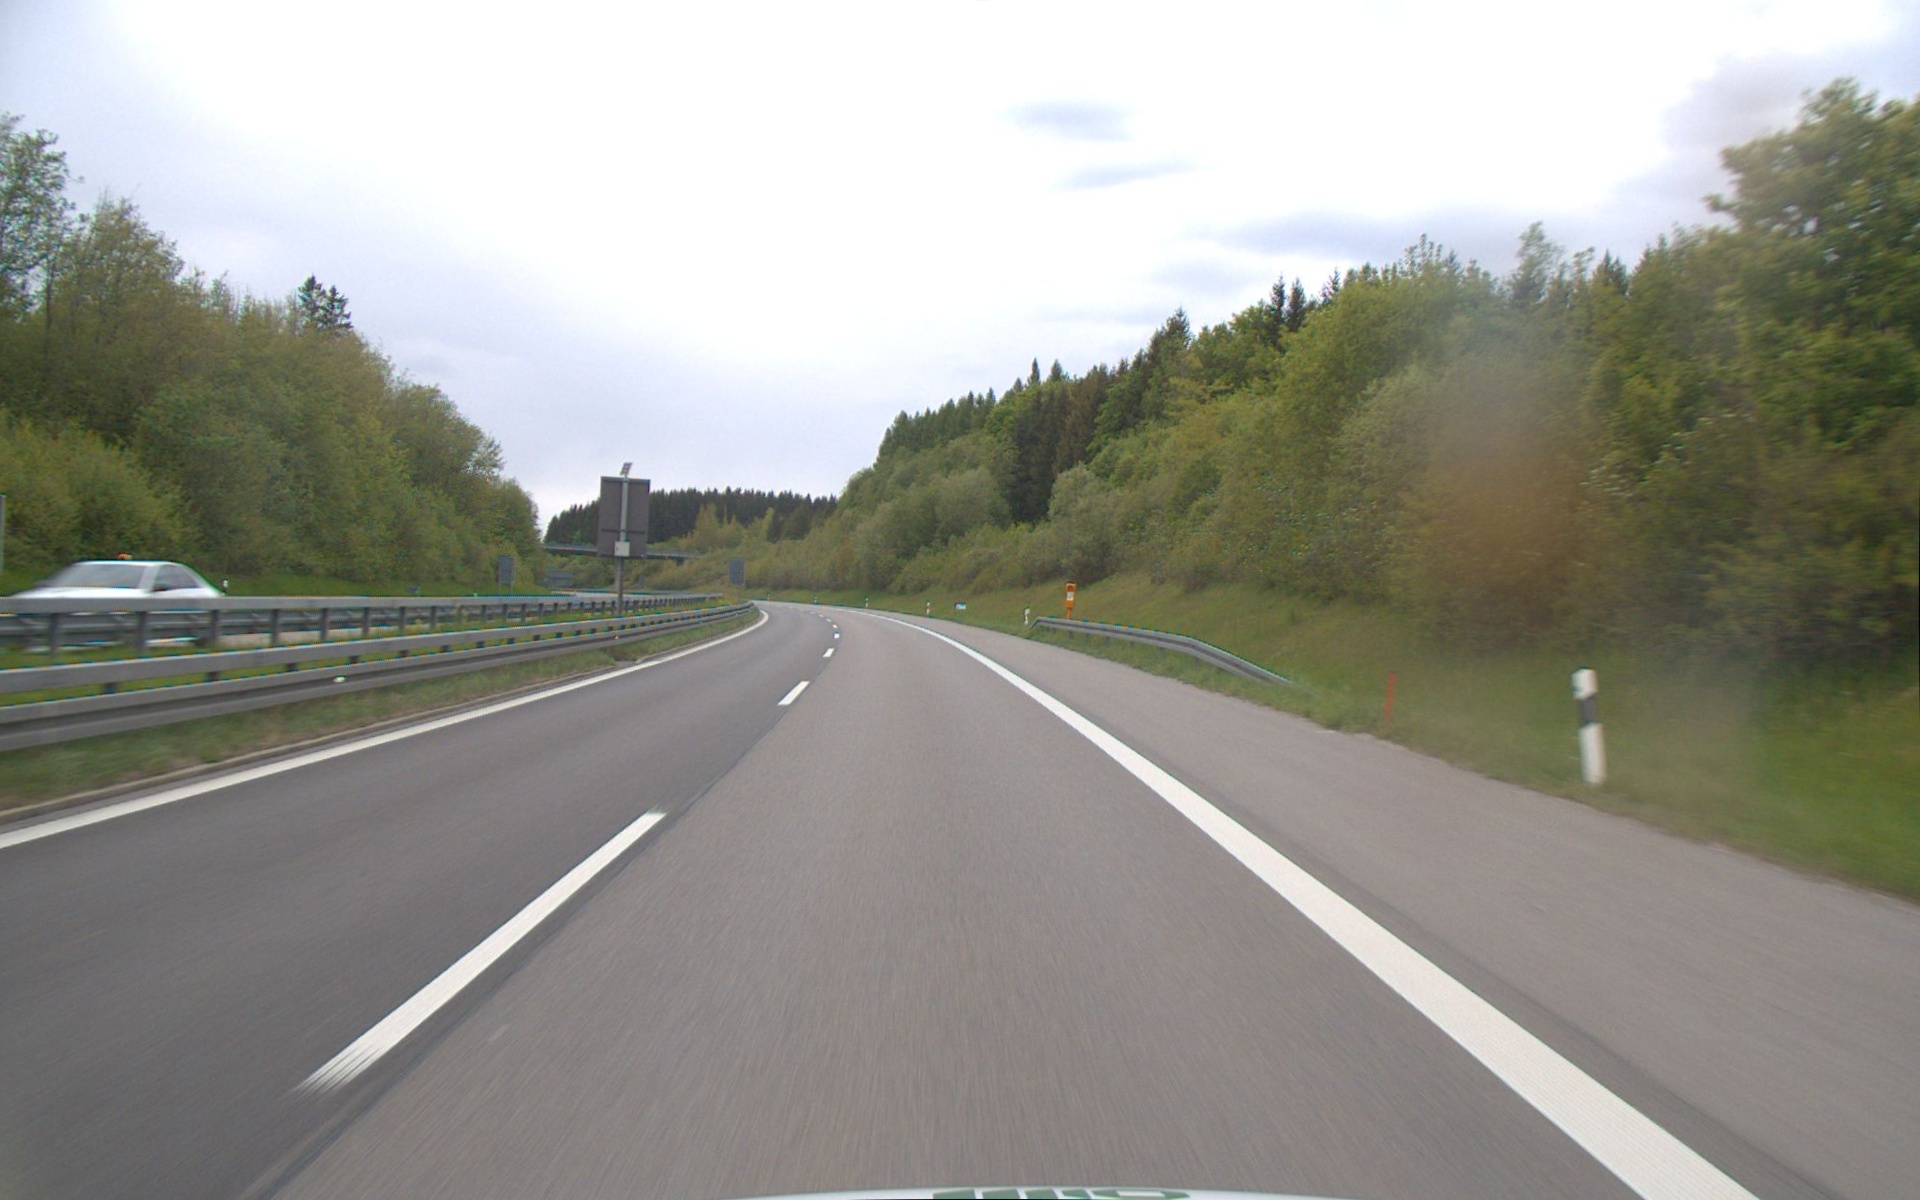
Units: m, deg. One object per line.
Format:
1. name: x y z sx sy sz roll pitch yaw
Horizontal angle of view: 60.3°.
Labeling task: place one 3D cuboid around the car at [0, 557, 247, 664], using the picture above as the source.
1. car: -13.346 0.126 26.497 1.954 1.453 4.461 4 1 -2
